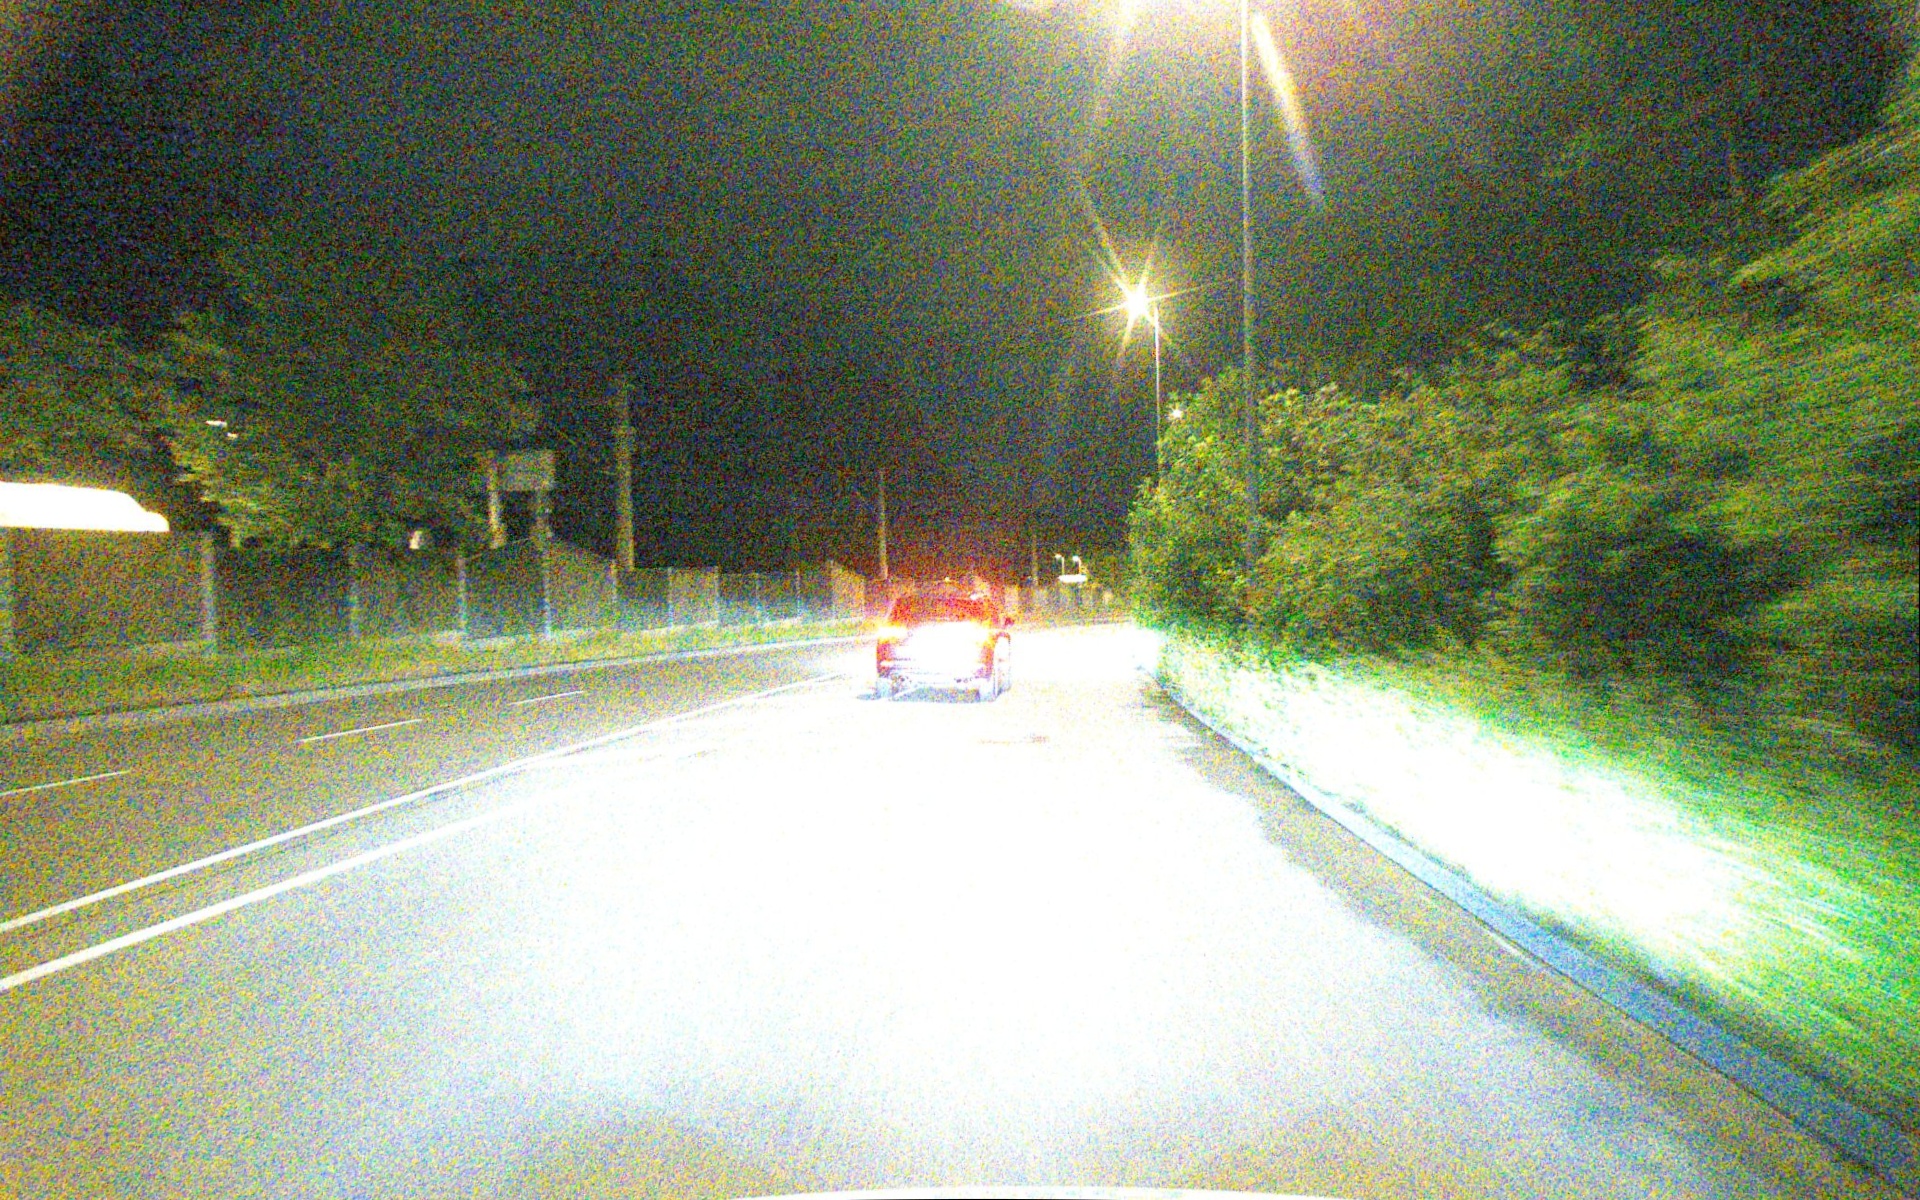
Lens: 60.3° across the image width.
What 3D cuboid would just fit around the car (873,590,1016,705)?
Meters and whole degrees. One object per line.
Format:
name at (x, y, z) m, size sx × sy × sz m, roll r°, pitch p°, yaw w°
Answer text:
car at (-0.162, 0.668, 25.423) m, size 1.776 × 1.601 × 3.946 m, roll 1°, pitch 0°, yaw 5°
